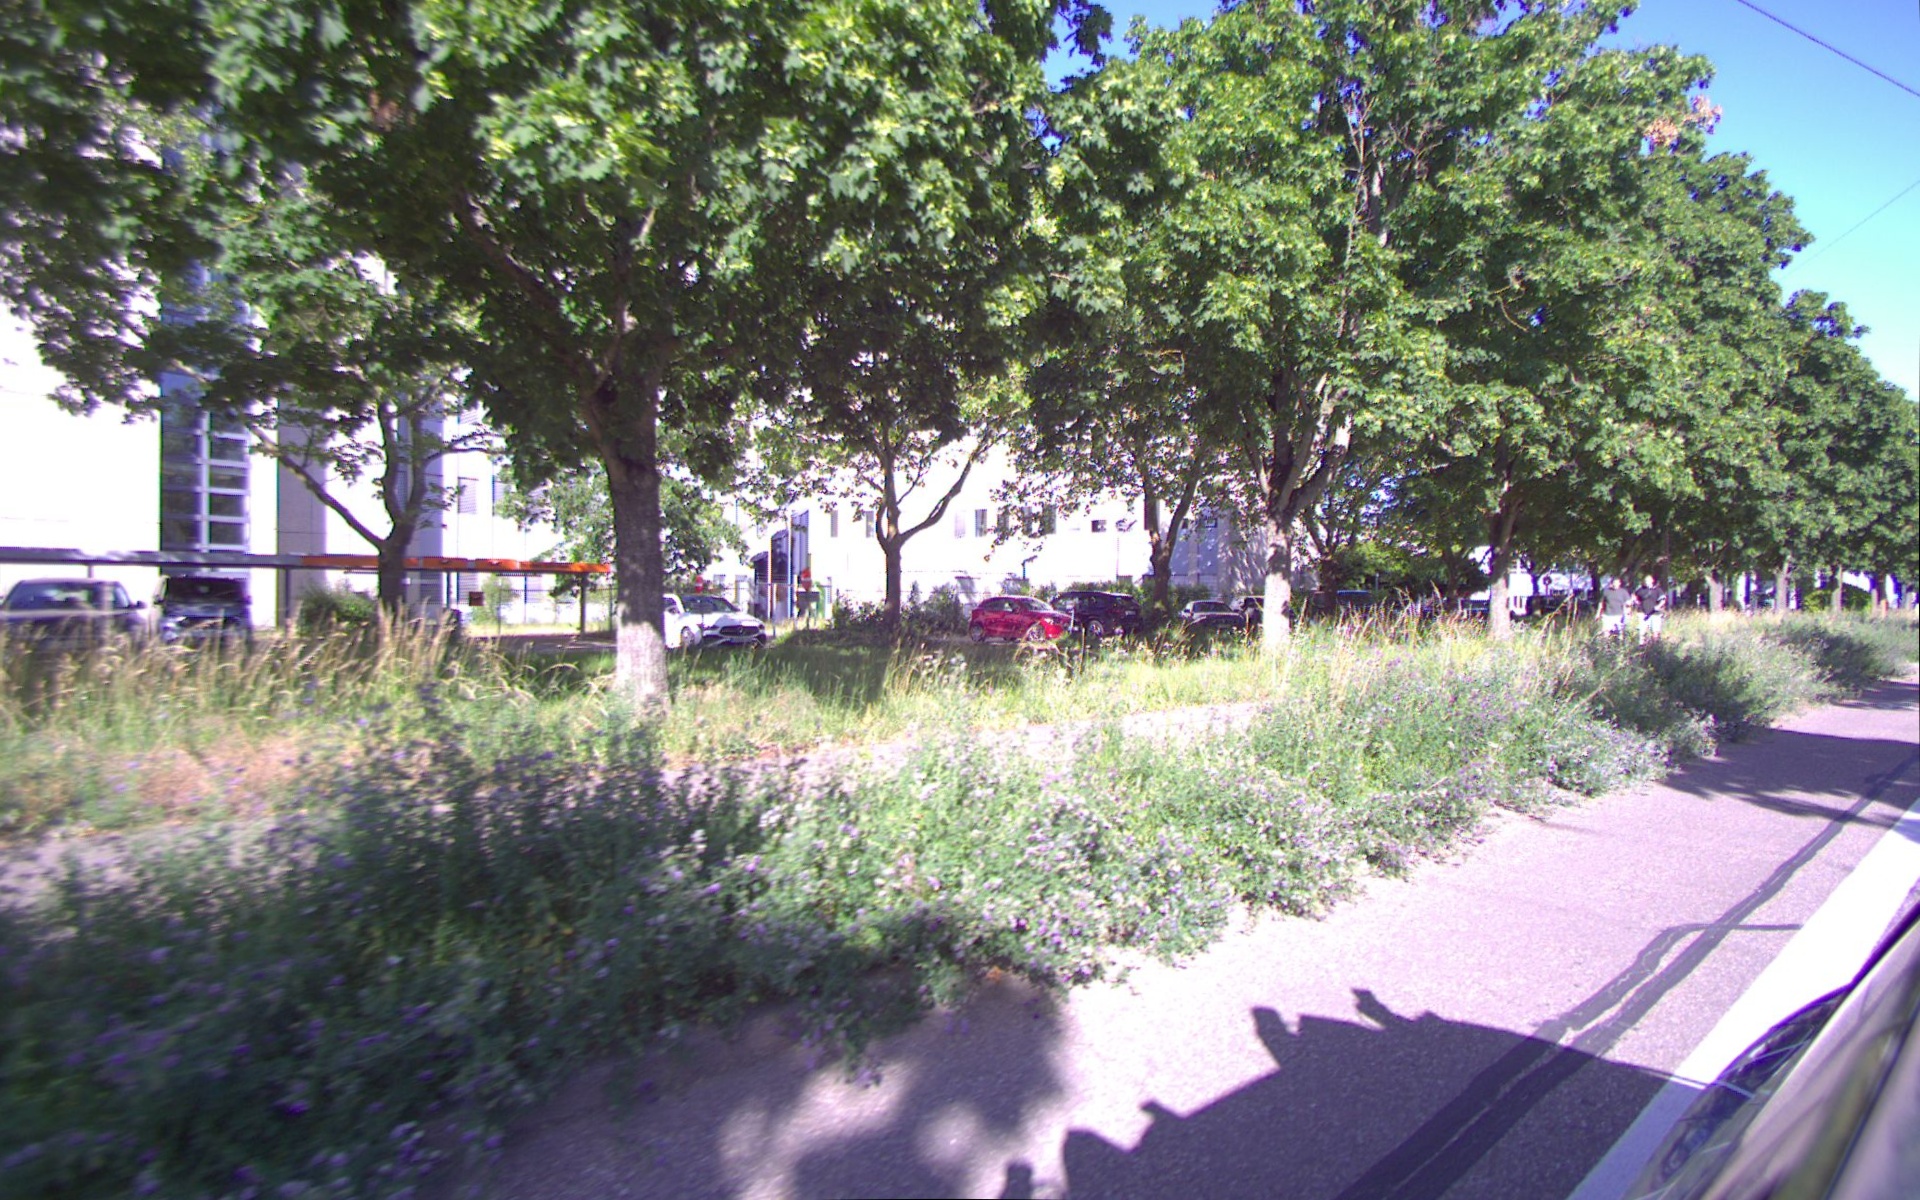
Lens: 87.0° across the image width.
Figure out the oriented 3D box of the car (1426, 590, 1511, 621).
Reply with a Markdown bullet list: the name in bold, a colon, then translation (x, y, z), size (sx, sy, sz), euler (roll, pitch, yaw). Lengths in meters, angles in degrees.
- **car**: translation (26.287, 0.279, 52.519), size (1.811, 1.534, 4.553), euler (0, 0, -5)

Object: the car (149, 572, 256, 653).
- **car**: translation (-20.317, 0.283, 27.066), size (1.940, 1.975, 4.757), euler (1, 0, -41)

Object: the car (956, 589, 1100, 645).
- **car**: translation (2.046, 0.486, 31.252), size (4.226, 1.555, 1.740), euler (2, 1, 41)

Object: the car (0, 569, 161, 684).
- **car**: translation (-14.357, 0.356, 16.390), size (1.852, 1.617, 4.395), euler (0, 0, -43)

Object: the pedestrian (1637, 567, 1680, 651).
- **pedestrian**: translation (16.482, 0.216, 23.887), size (0.703, 1.942, 0.809), euler (0, -1, 27)

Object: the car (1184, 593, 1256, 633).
- **car**: translation (9.442, 0.454, 37.021), size (1.677, 1.358, 3.985), euler (0, 0, 2)

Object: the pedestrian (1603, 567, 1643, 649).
- **pedestrian**: translation (16.075, 0.188, 24.536), size (0.707, 1.955, 0.804), euler (-1, -1, 41)

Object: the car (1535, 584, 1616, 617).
- **car**: translation (37.033, 0.049, 61.070), size (2.043, 1.900, 5.179), euler (0, 0, 5)

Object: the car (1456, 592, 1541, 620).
- **car**: translation (28.870, 0.305, 54.423), size (1.811, 1.466, 4.553), euler (0, 0, -5)

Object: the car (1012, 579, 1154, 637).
- **car**: translation (3.915, 0.201, 32.600), size (4.330, 1.721, 1.740), euler (2, 1, 41)

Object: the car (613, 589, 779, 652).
- **car**: translation (-6.335, 0.428, 23.931), size (1.777, 1.287, 4.703), euler (2, 0, -43)

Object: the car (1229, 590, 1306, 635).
- **car**: translation (11.889, 0.452, 39.411), size (1.690, 1.659, 3.988), euler (0, 0, -1)

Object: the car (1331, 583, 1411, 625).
- **car**: translation (18.171, 0.166, 45.026), size (1.886, 1.774, 5.445), euler (0, 0, 7)
